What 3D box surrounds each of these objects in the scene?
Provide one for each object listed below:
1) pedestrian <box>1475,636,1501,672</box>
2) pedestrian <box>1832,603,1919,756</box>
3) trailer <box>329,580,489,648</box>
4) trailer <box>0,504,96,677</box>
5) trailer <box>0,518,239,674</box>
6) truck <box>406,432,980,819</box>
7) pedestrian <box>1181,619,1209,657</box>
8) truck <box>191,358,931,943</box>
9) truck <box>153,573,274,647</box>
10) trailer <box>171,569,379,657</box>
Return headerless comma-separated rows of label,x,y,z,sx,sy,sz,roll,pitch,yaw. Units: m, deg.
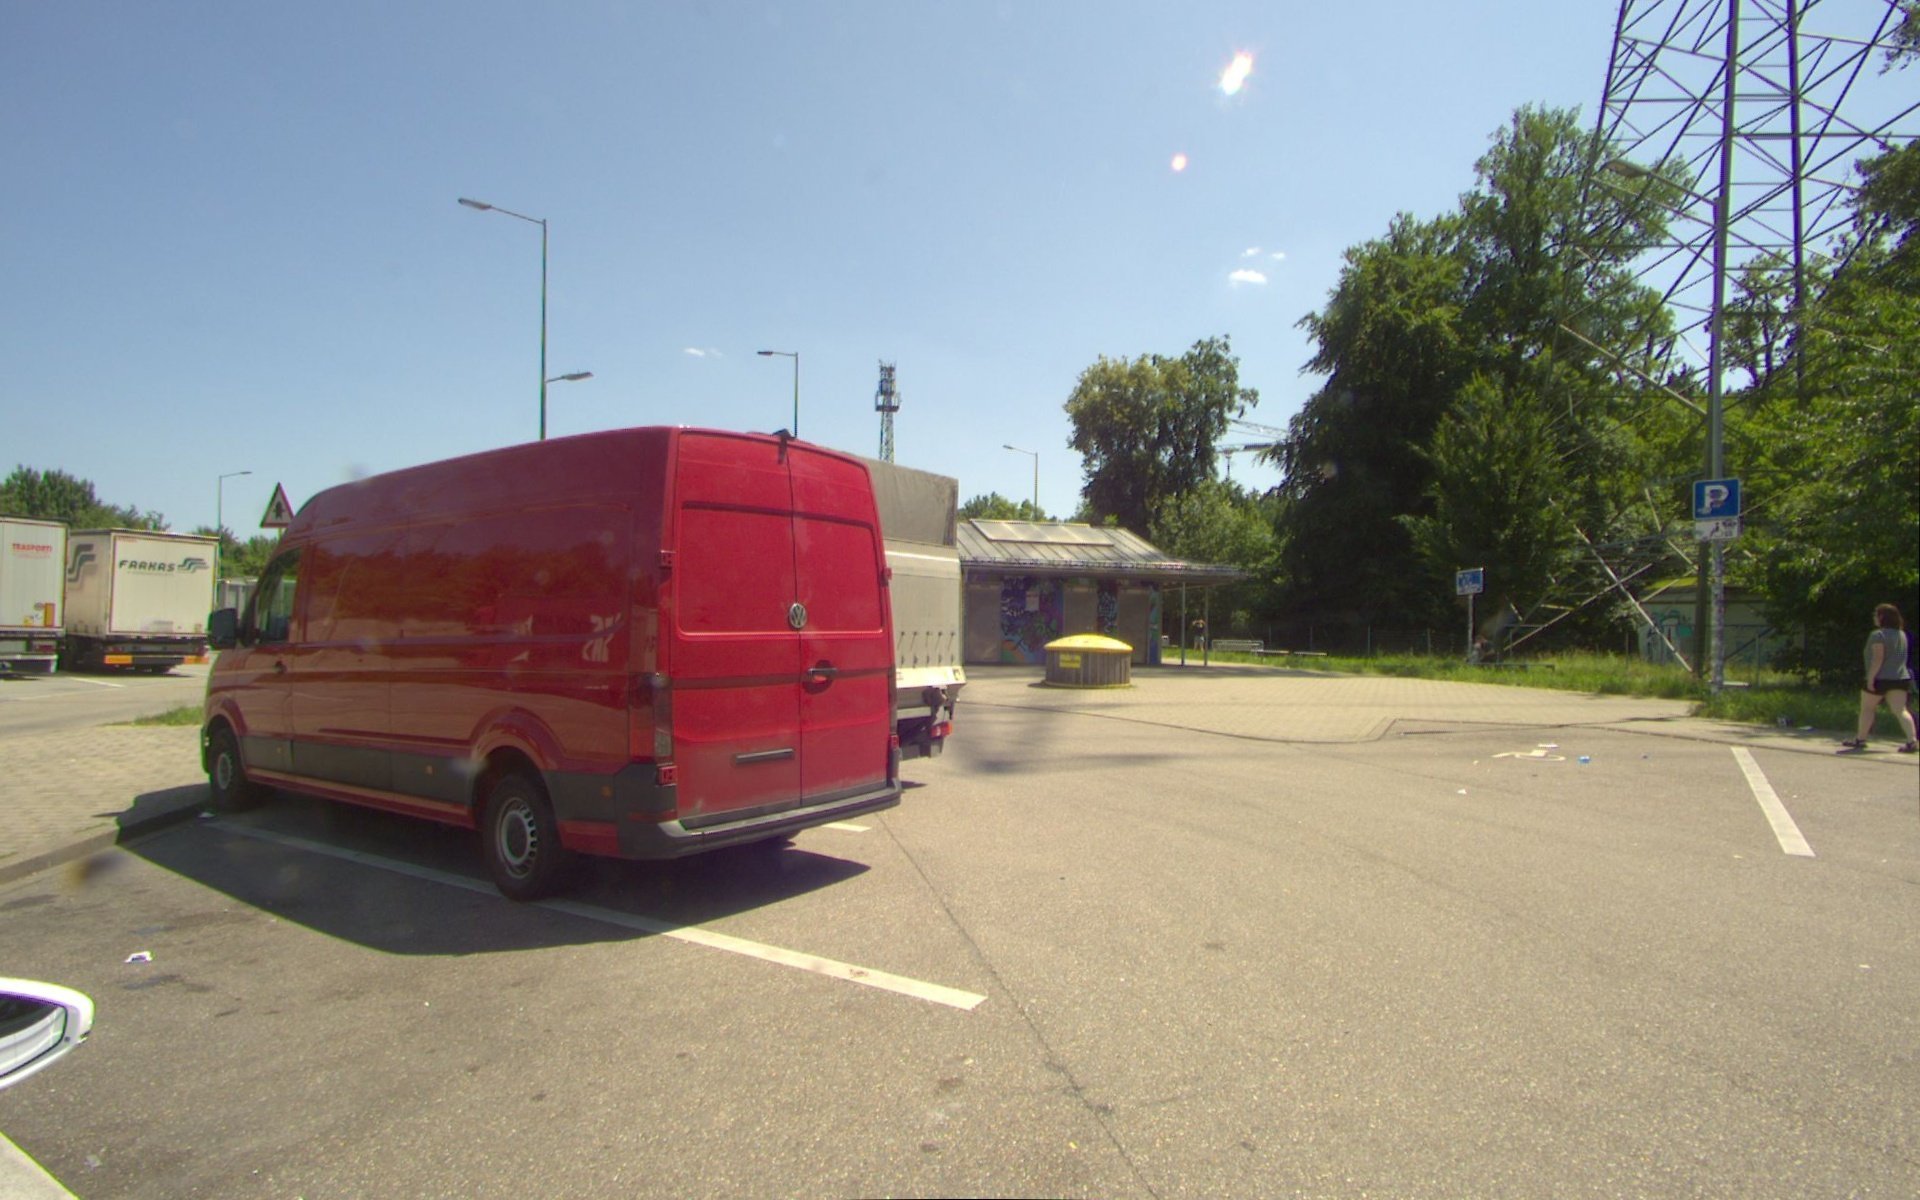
pedestrian,14.663,1.500,27.801,0.439,0.987,0.460,0,-1,-19
pedestrian,10.576,0.885,11.379,0.674,1.670,0.715,0,-1,-10
trailer,-36.151,0.856,65.322,13.561,3.955,2.854,1,-2,32
trailer,-28.668,-0.336,28.005,13.561,4.162,2.854,1,-2,32
trailer,-27.595,-0.163,31.593,13.561,4.162,2.854,1,-2,32
truck,-3.067,0.277,10.505,6.372,2.944,2.411,-1,-2,37
pedestrian,10.440,1.680,44.516,0.907,1.639,0.810,1,-1,-29
truck,-3.318,0.305,7.321,6.372,2.685,2.005,-1,-2,37
truck,-37.529,0.483,50.306,5.887,3.406,2.862,1,-2,32
trailer,-32.457,0.492,47.082,13.561,3.646,2.854,1,-2,32
